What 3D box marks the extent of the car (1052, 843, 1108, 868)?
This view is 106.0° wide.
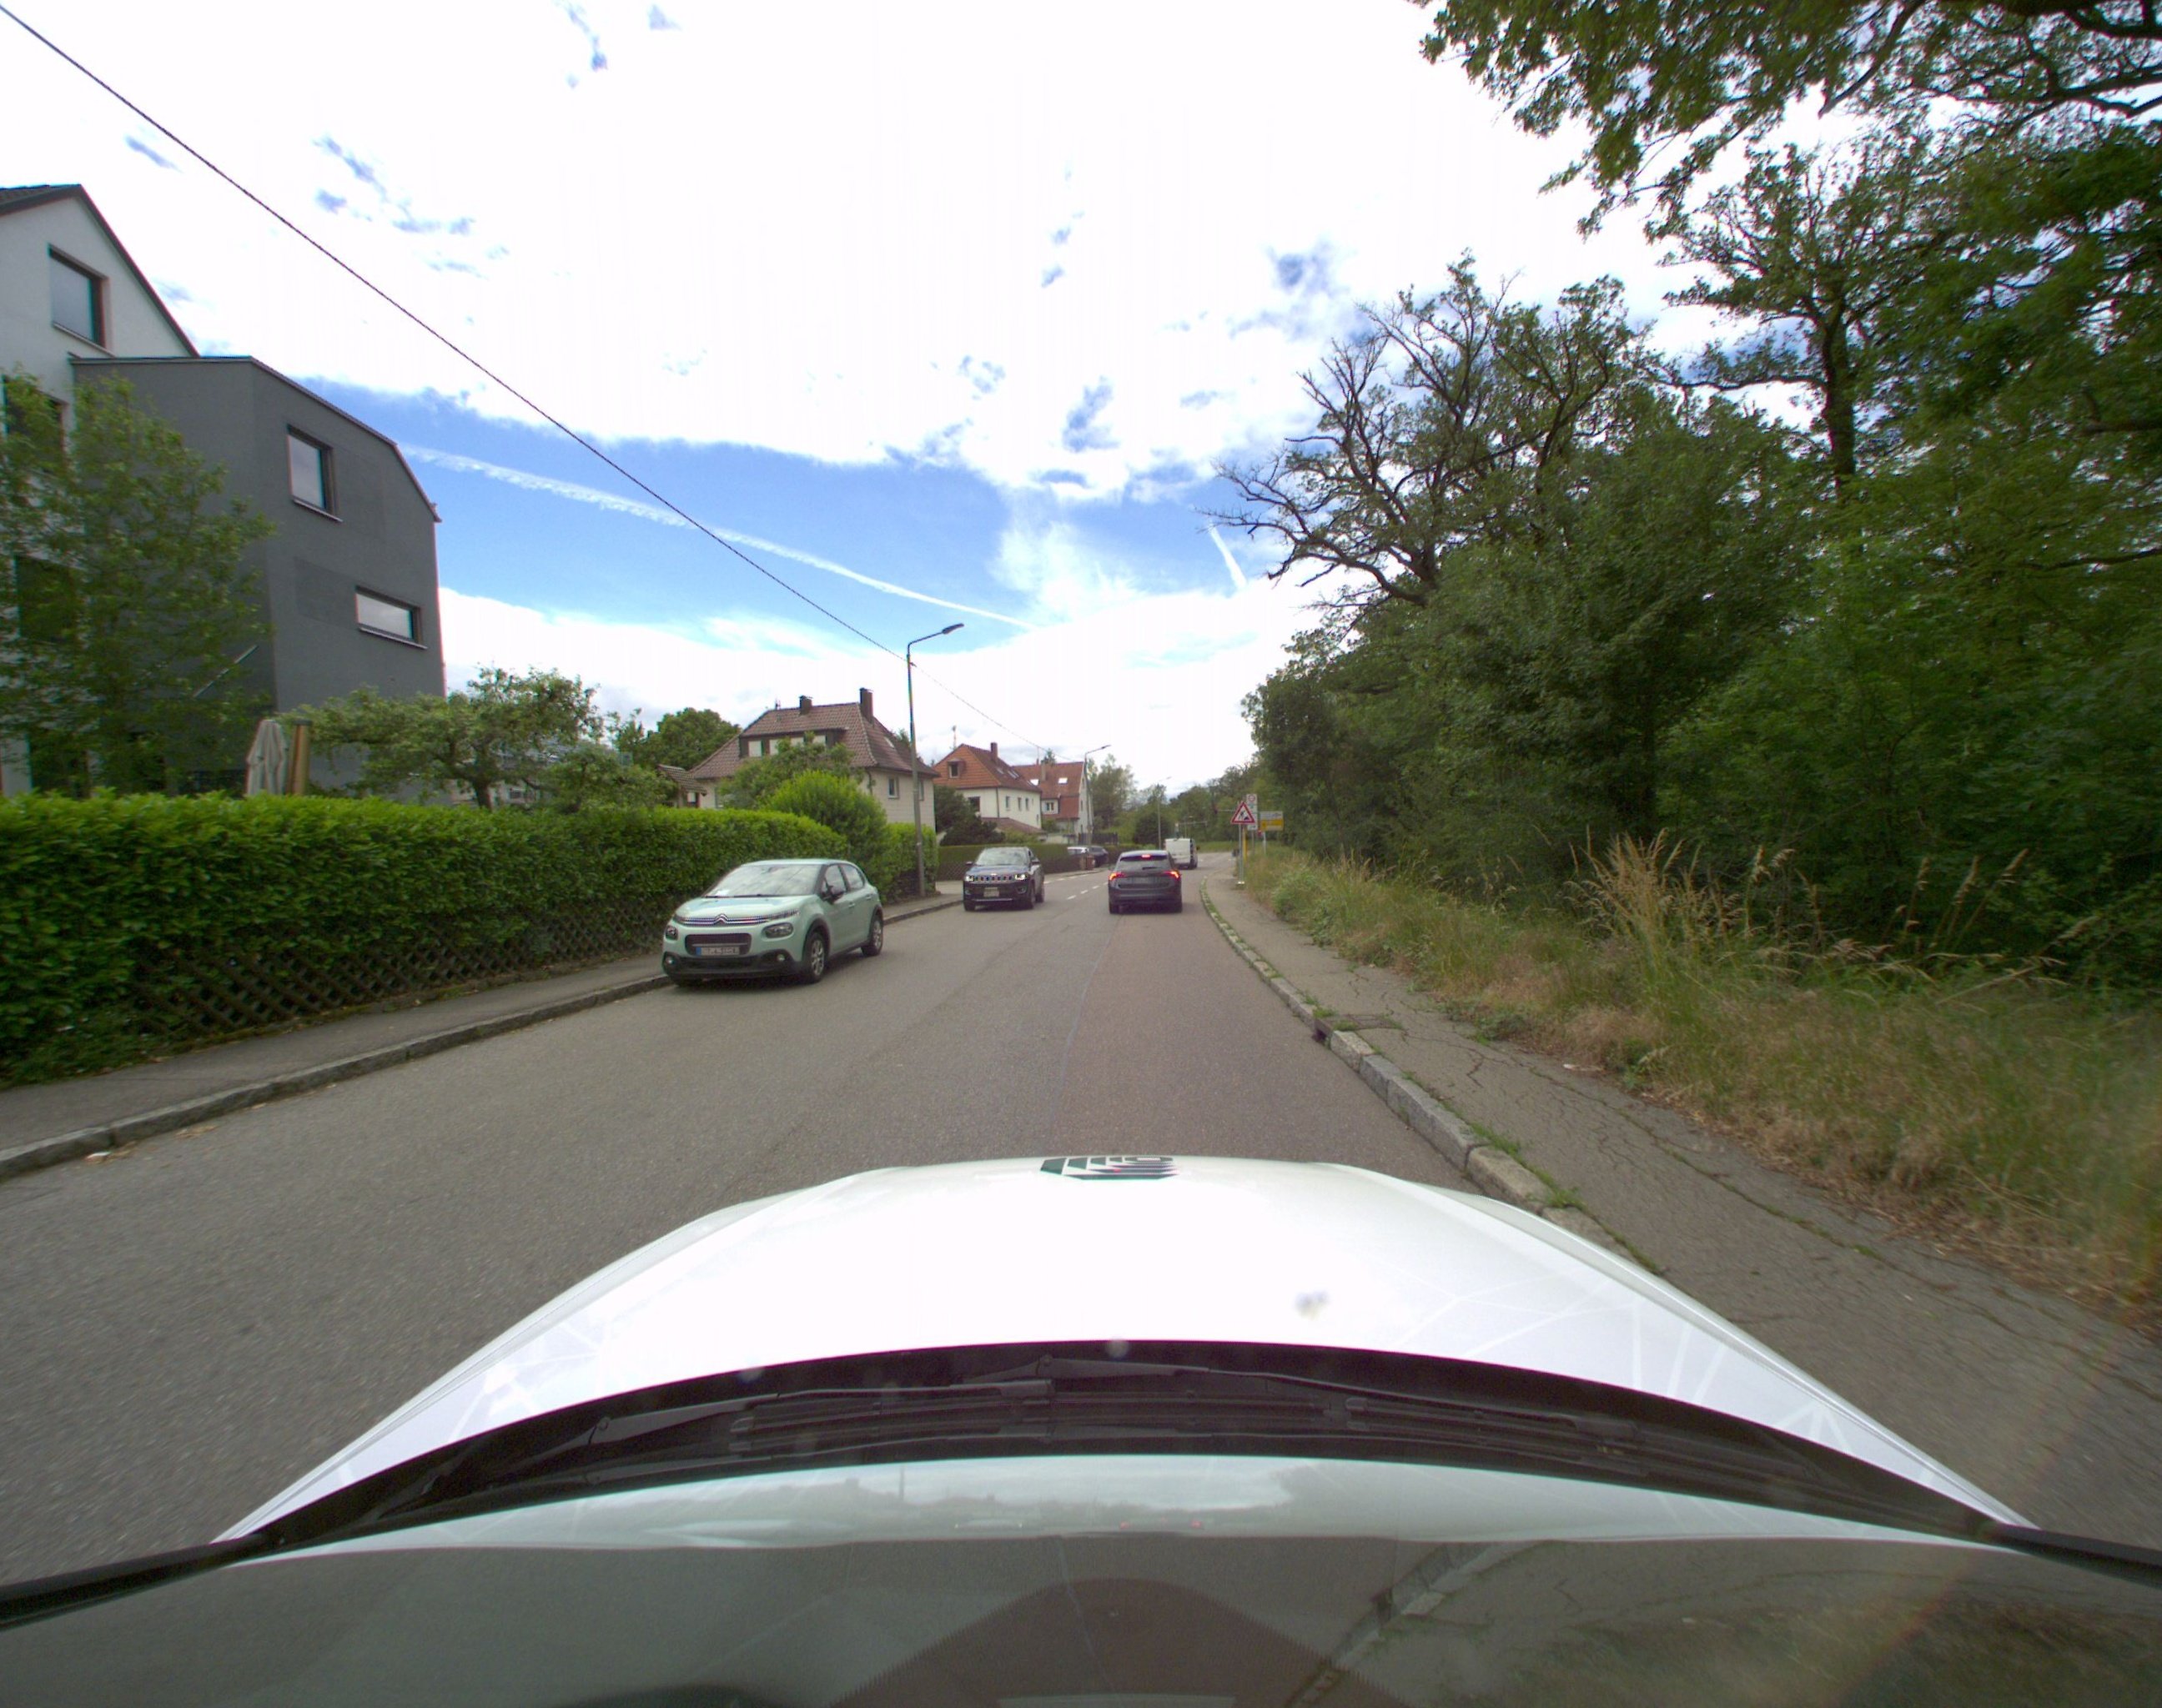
[{"bbox_3d":[-0.049,0.095,61.825,3.969,1.706,1.919,-2,0,4],"label":"car"}]

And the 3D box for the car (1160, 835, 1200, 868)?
[{"bbox_3d":[6.447,-0.172,52.531,2.058,1.922,4.938,-2,0,12],"label":"car"}]

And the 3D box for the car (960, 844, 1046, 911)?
[{"bbox_3d":[-2.035,0.563,22.464,1.827,1.597,4.325,-2,1,1],"label":"car"}]

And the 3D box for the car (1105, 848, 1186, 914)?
[{"bbox_3d":[1.526,0.590,20.494,1.722,1.439,4.324,-2,0,1],"label":"car"}]

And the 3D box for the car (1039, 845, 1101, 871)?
[{"bbox_3d":[-0.768,0.265,56.975,3.962,1.618,2.006,-3,0,10],"label":"car"}]

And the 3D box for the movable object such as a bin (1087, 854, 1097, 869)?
[{"bbox_3d":[0.722,0.479,53.359,0.596,0.951,0.581,-2,0,8],"label":"movable object such as a bin"}]

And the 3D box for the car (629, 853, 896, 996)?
[{"bbox_3d":[-3.930,0.770,10.877,1.776,1.500,4.018,-2,0,3],"label":"car"}]
